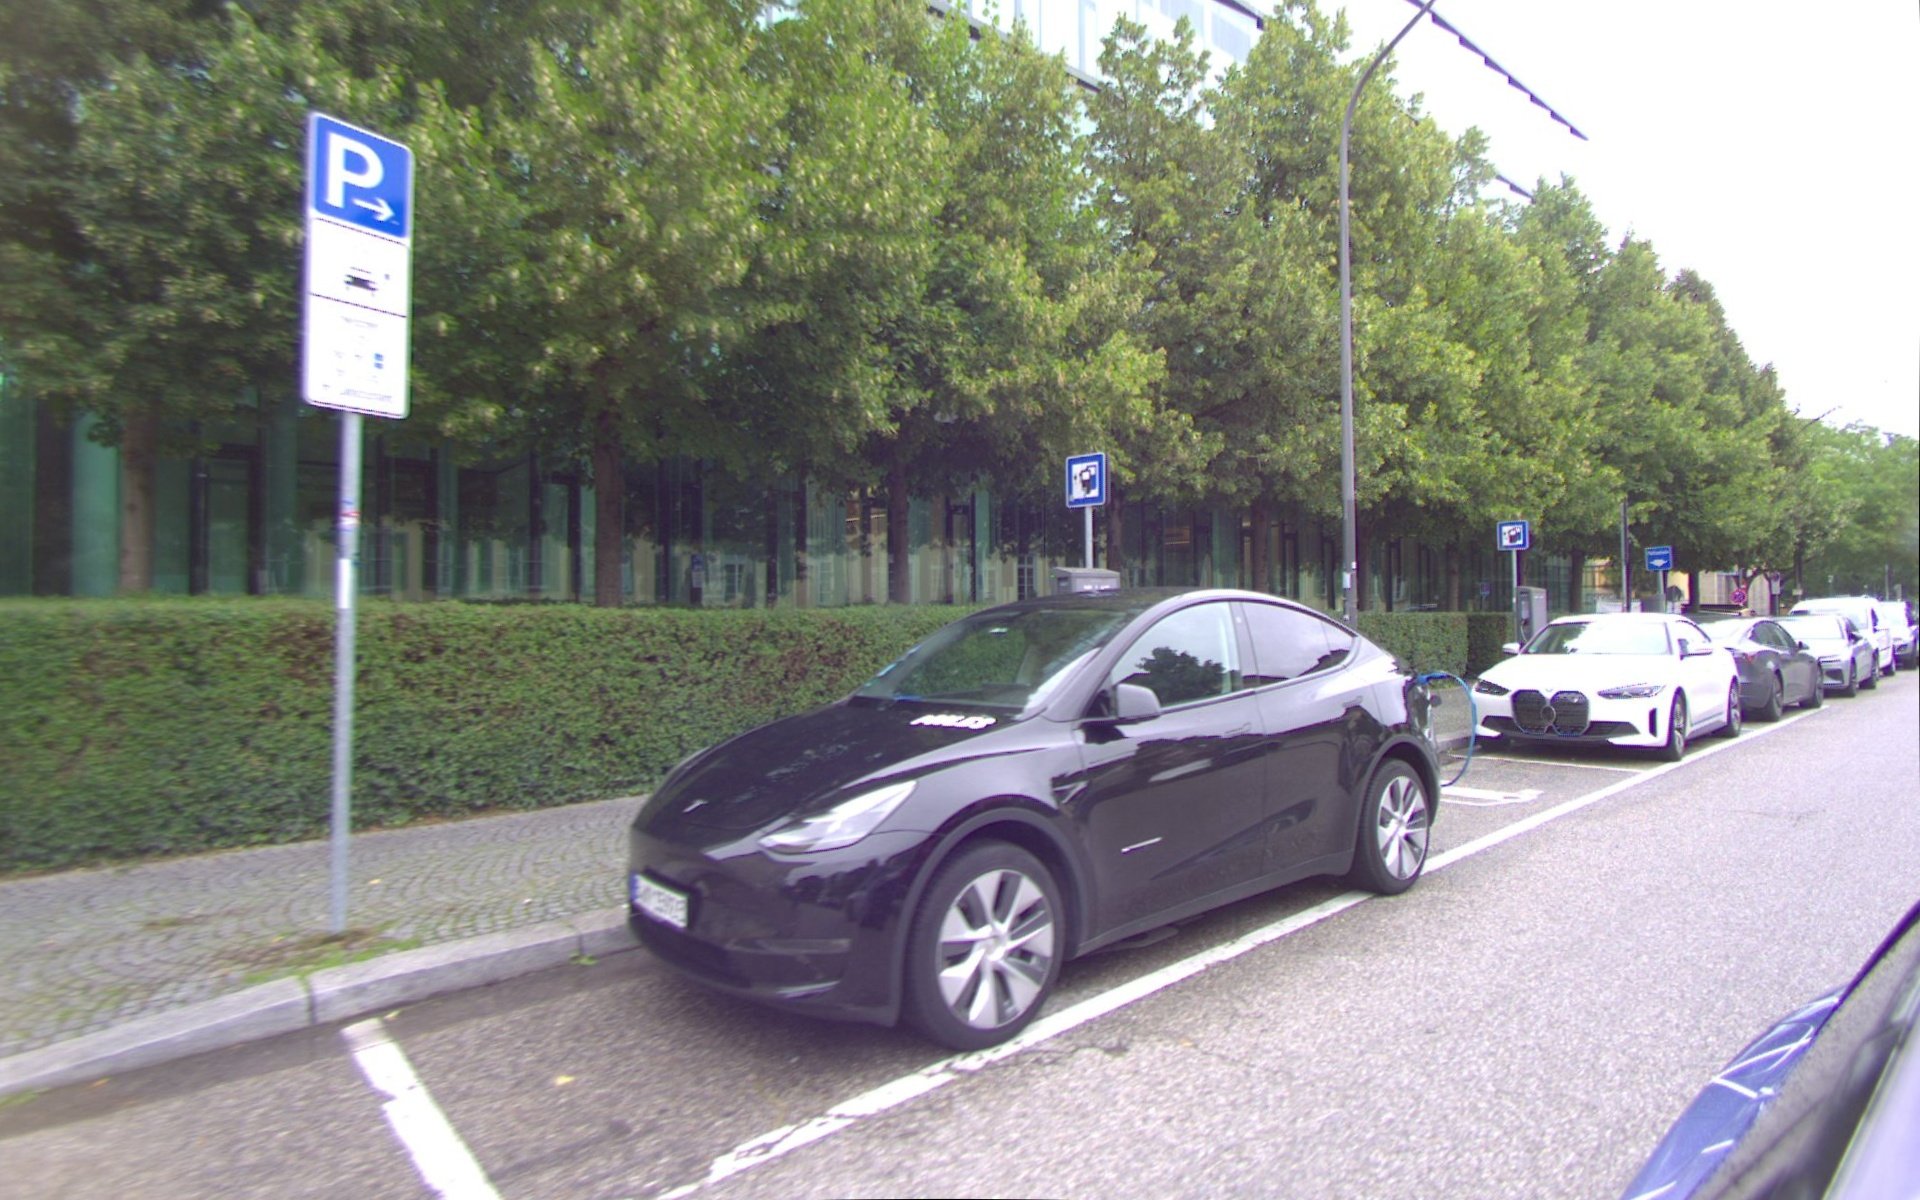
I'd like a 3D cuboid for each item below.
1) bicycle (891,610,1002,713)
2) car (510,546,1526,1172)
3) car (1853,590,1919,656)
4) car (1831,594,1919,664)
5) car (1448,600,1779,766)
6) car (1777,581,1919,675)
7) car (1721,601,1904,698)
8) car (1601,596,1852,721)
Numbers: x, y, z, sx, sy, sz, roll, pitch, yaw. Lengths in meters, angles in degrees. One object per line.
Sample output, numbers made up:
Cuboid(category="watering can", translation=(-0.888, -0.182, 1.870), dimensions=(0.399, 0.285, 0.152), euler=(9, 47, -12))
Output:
Cuboid(category="bicycle", translation=(-0.223, 0.787, 13.651), dimensions=(0.621, 1.285, 1.947), euler=(0, -1, -30))
Cuboid(category="car", translation=(0.671, 0.710, 5.055), dimensions=(5.007, 1.652, 1.997), euler=(0, -2, -39))
Cuboid(category="car", translation=(27.875, 0.654, 29.982), dimensions=(1.810, 1.831, 4.277), euler=(-3, -2, 45))
Cuboid(category="car", translation=(24.587, 0.727, 26.684), dimensions=(4.703, 1.713, 1.869), euler=(0, -2, -43))
Cuboid(category="car", translation=(7.540, 0.773, 11.445), dimensions=(4.873, 1.479, 1.995), euler=(0, -2, -43))
Cuboid(category="car", translation=(20.083, 0.602, 22.827), dimensions=(4.494, 1.920, 1.787), euler=(0, -2, -41))
Cuboid(category="car", translation=(15.918, 0.835, 18.804), dimensions=(4.920, 1.572, 1.949), euler=(0, -2, -43))
Cuboid(category="car", translation=(11.505, 0.765, 15.059), dimensions=(4.764, 1.572, 1.965), euler=(0, -2, -41))
